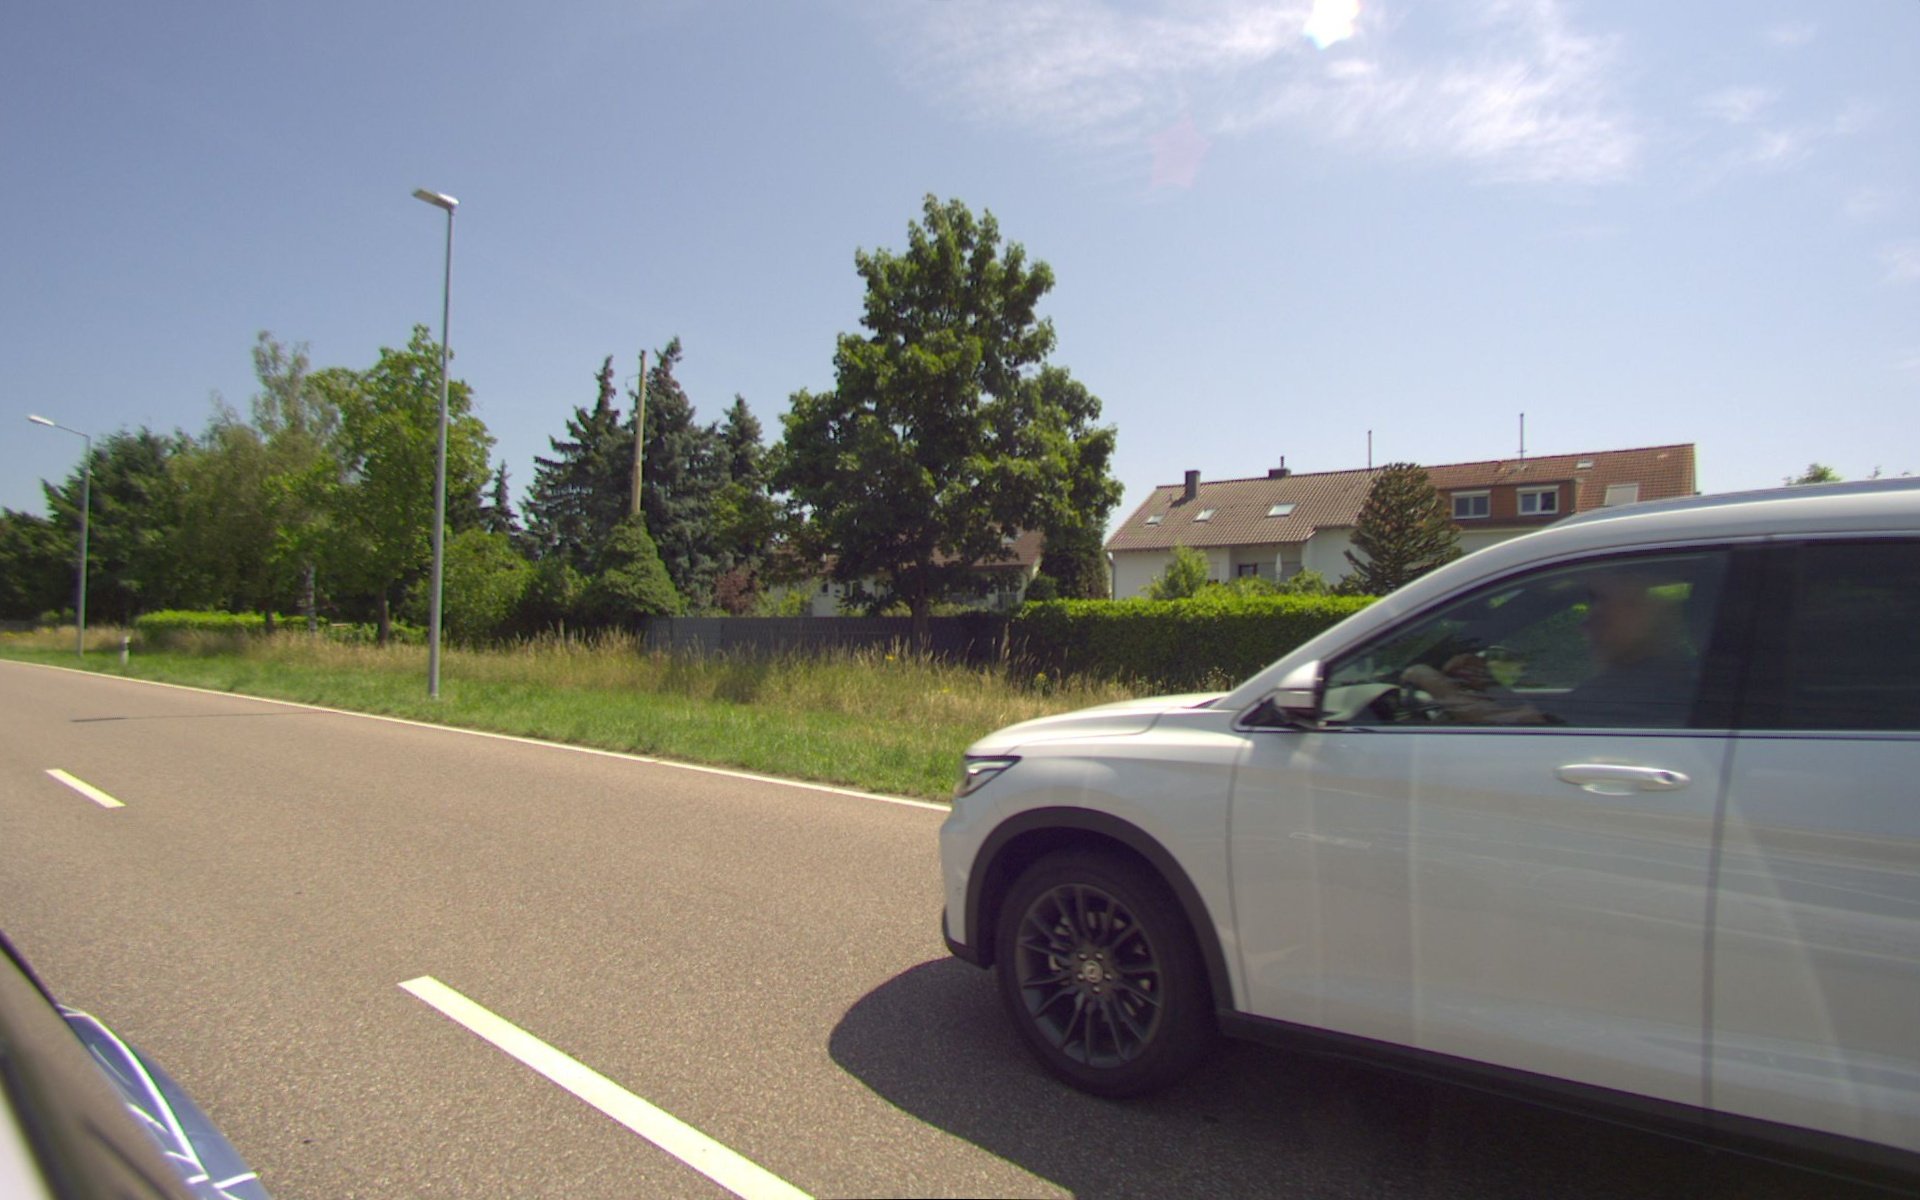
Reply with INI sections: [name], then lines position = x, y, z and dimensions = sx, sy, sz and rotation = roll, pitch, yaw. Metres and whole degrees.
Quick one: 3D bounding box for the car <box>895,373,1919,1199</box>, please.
[car]
position = 2.167, 0.530, 2.627
dimensions = 4.710, 1.810, 1.915
rotation = -1, -2, 42
